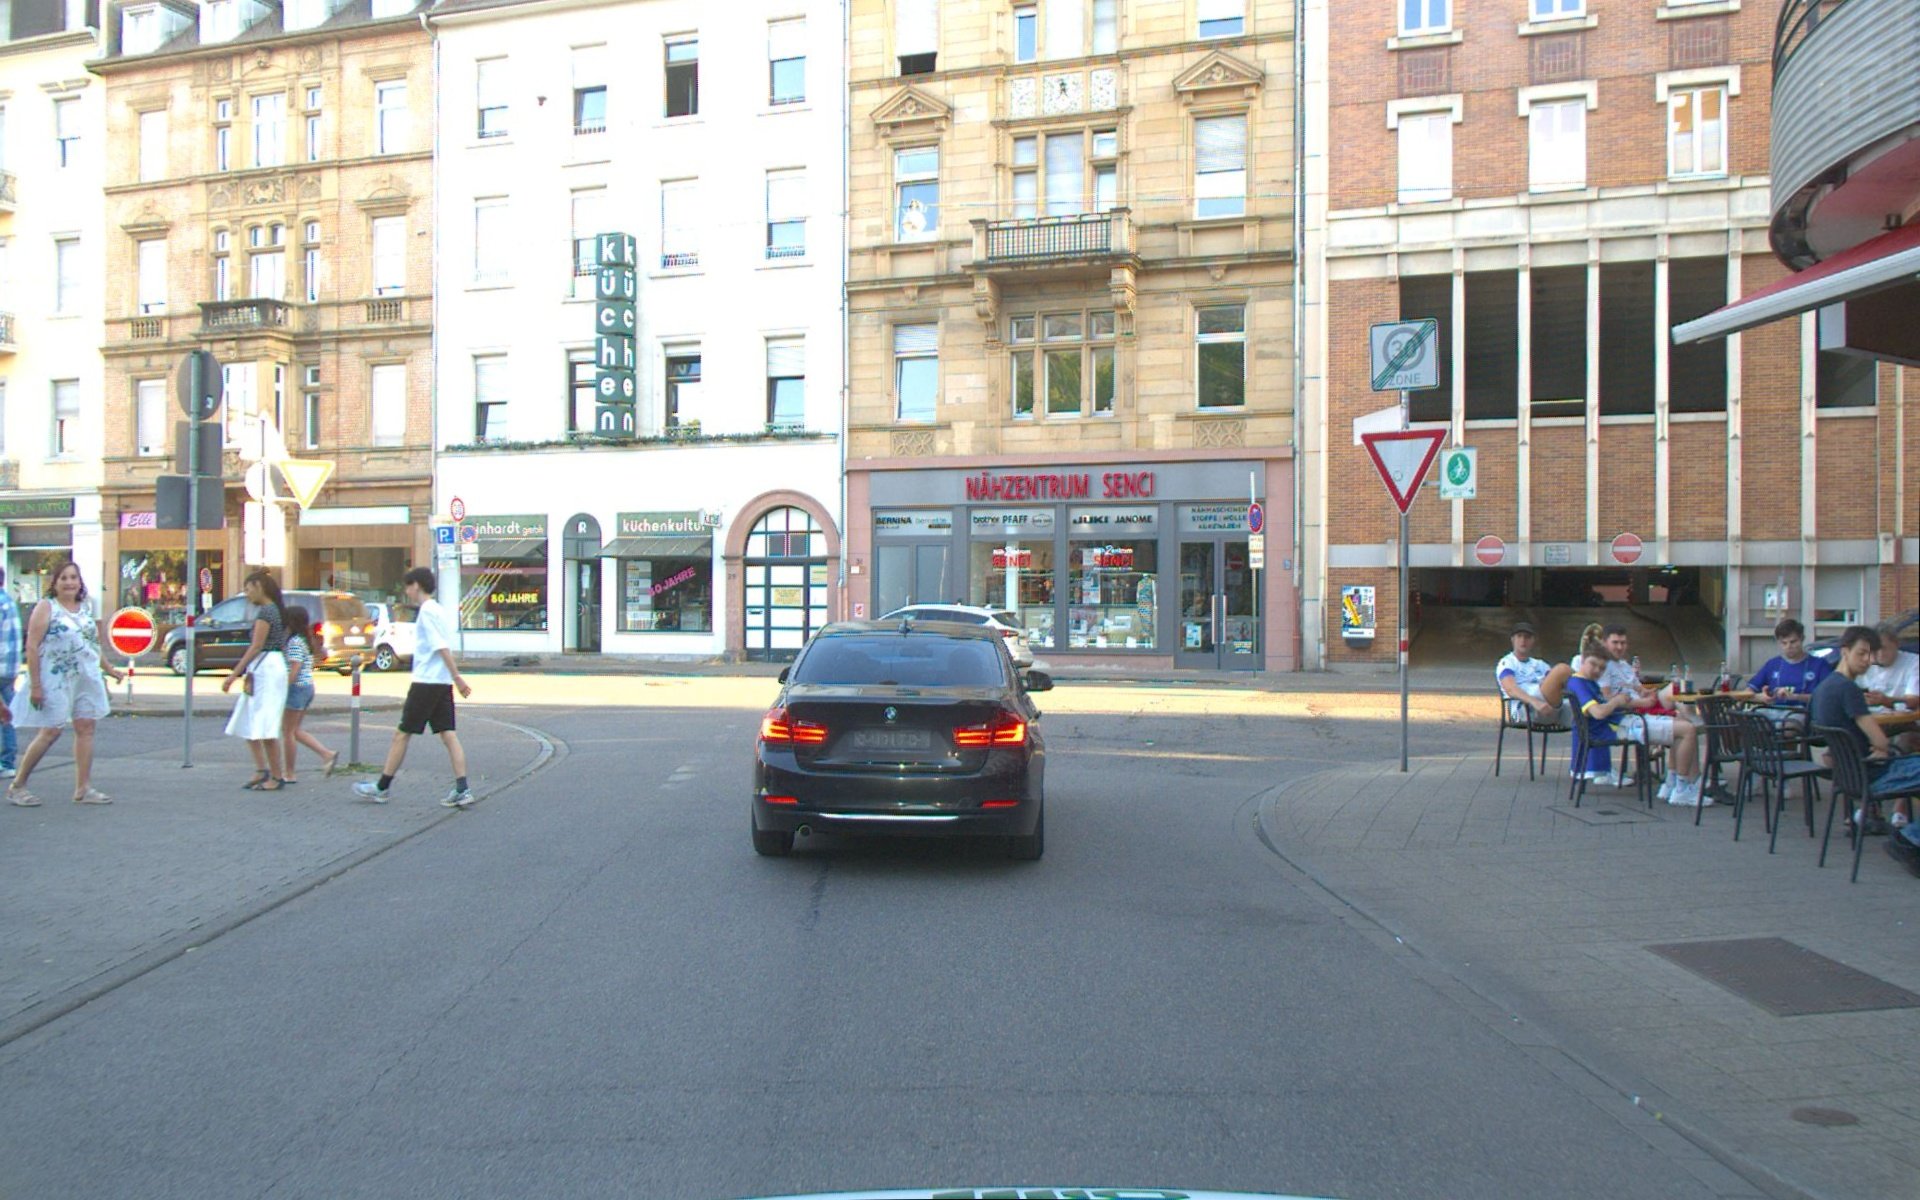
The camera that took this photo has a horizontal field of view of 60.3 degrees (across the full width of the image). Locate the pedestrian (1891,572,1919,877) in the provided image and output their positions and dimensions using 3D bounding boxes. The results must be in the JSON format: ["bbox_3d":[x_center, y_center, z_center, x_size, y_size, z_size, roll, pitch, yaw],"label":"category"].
[{"bbox_3d":[5.215,0.621,8.248,0.636,1.554,0.699,-3,0,-7],"label":"pedestrian"}]

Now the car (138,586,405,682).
[{"bbox_3d":[-13.558,0.632,32.647,4.504,1.681,2.099,1,1,15],"label":"car"}]

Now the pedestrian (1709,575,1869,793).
[{"bbox_3d":[6.231,0.607,12.448,0.707,1.563,0.841,2,-1,-38],"label":"pedestrian"}]

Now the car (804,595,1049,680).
[{"bbox_3d":[-0.674,0.737,33.787,4.569,1.562,2.000,1,0,19],"label":"car"}]

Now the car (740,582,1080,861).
[{"bbox_3d":[-0.310,0.705,11.153,1.850,1.518,4.203,0,-1,-1],"label":"car"}]

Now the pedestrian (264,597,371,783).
[{"bbox_3d":[-5.409,0.742,13.927,0.707,1.512,0.597,2,-1,-33],"label":"pedestrian"}]

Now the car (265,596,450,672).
[{"bbox_3d":[-14.137,0.769,38.802,3.905,1.612,1.705,1,0,21],"label":"car"}]

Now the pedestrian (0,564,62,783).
[{"bbox_3d":[-7.903,0.595,13.751,0.679,1.777,0.708,2,-1,-33],"label":"pedestrian"}]

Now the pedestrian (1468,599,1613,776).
[{"bbox_3d":[4.809,0.706,13.728,0.760,1.406,0.831,0,-1,-29],"label":"pedestrian"}]

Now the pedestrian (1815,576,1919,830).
[{"bbox_3d":[5.917,0.641,10.606,0.736,1.563,0.647,1,-1,29],"label":"pedestrian"}]

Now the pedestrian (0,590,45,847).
[{"bbox_3d":[-6.350,0.736,10.554,0.790,1.610,0.721,2,-1,-36],"label":"pedestrian"}]

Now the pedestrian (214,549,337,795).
[{"bbox_3d":[-5.519,0.563,13.330,0.771,1.908,0.706,2,-1,-33],"label":"pedestrian"}]

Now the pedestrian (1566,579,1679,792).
[{"bbox_3d":[5.023,0.636,12.577,0.697,1.563,0.690,0,-1,14],"label":"pedestrian"}]

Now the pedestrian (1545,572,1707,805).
[{"bbox_3d":[4.756,0.614,11.868,0.698,1.562,0.853,-4,0,-2],"label":"pedestrian"}]

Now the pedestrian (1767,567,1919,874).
[{"bbox_3d":[4.990,0.619,9.002,0.699,1.562,0.758,-3,0,-7],"label":"pedestrian"}]

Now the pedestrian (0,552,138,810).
[{"bbox_3d":[-6.654,0.580,12.258,0.872,1.834,0.706,2,-1,-35],"label":"pedestrian"}]

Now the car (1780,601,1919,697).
[{"bbox_3d":[16.141,0.815,27.928,3.905,1.546,2.000,1,0,21],"label":"car"}]

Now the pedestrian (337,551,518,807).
[{"bbox_3d":[-4.143,0.585,12.886,0.872,1.886,0.981,1,-1,37],"label":"pedestrian"}]

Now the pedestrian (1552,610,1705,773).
[{"bbox_3d":[5.584,0.755,13.857,0.676,1.304,0.959,0,-2,-28],"label":"pedestrian"}]
